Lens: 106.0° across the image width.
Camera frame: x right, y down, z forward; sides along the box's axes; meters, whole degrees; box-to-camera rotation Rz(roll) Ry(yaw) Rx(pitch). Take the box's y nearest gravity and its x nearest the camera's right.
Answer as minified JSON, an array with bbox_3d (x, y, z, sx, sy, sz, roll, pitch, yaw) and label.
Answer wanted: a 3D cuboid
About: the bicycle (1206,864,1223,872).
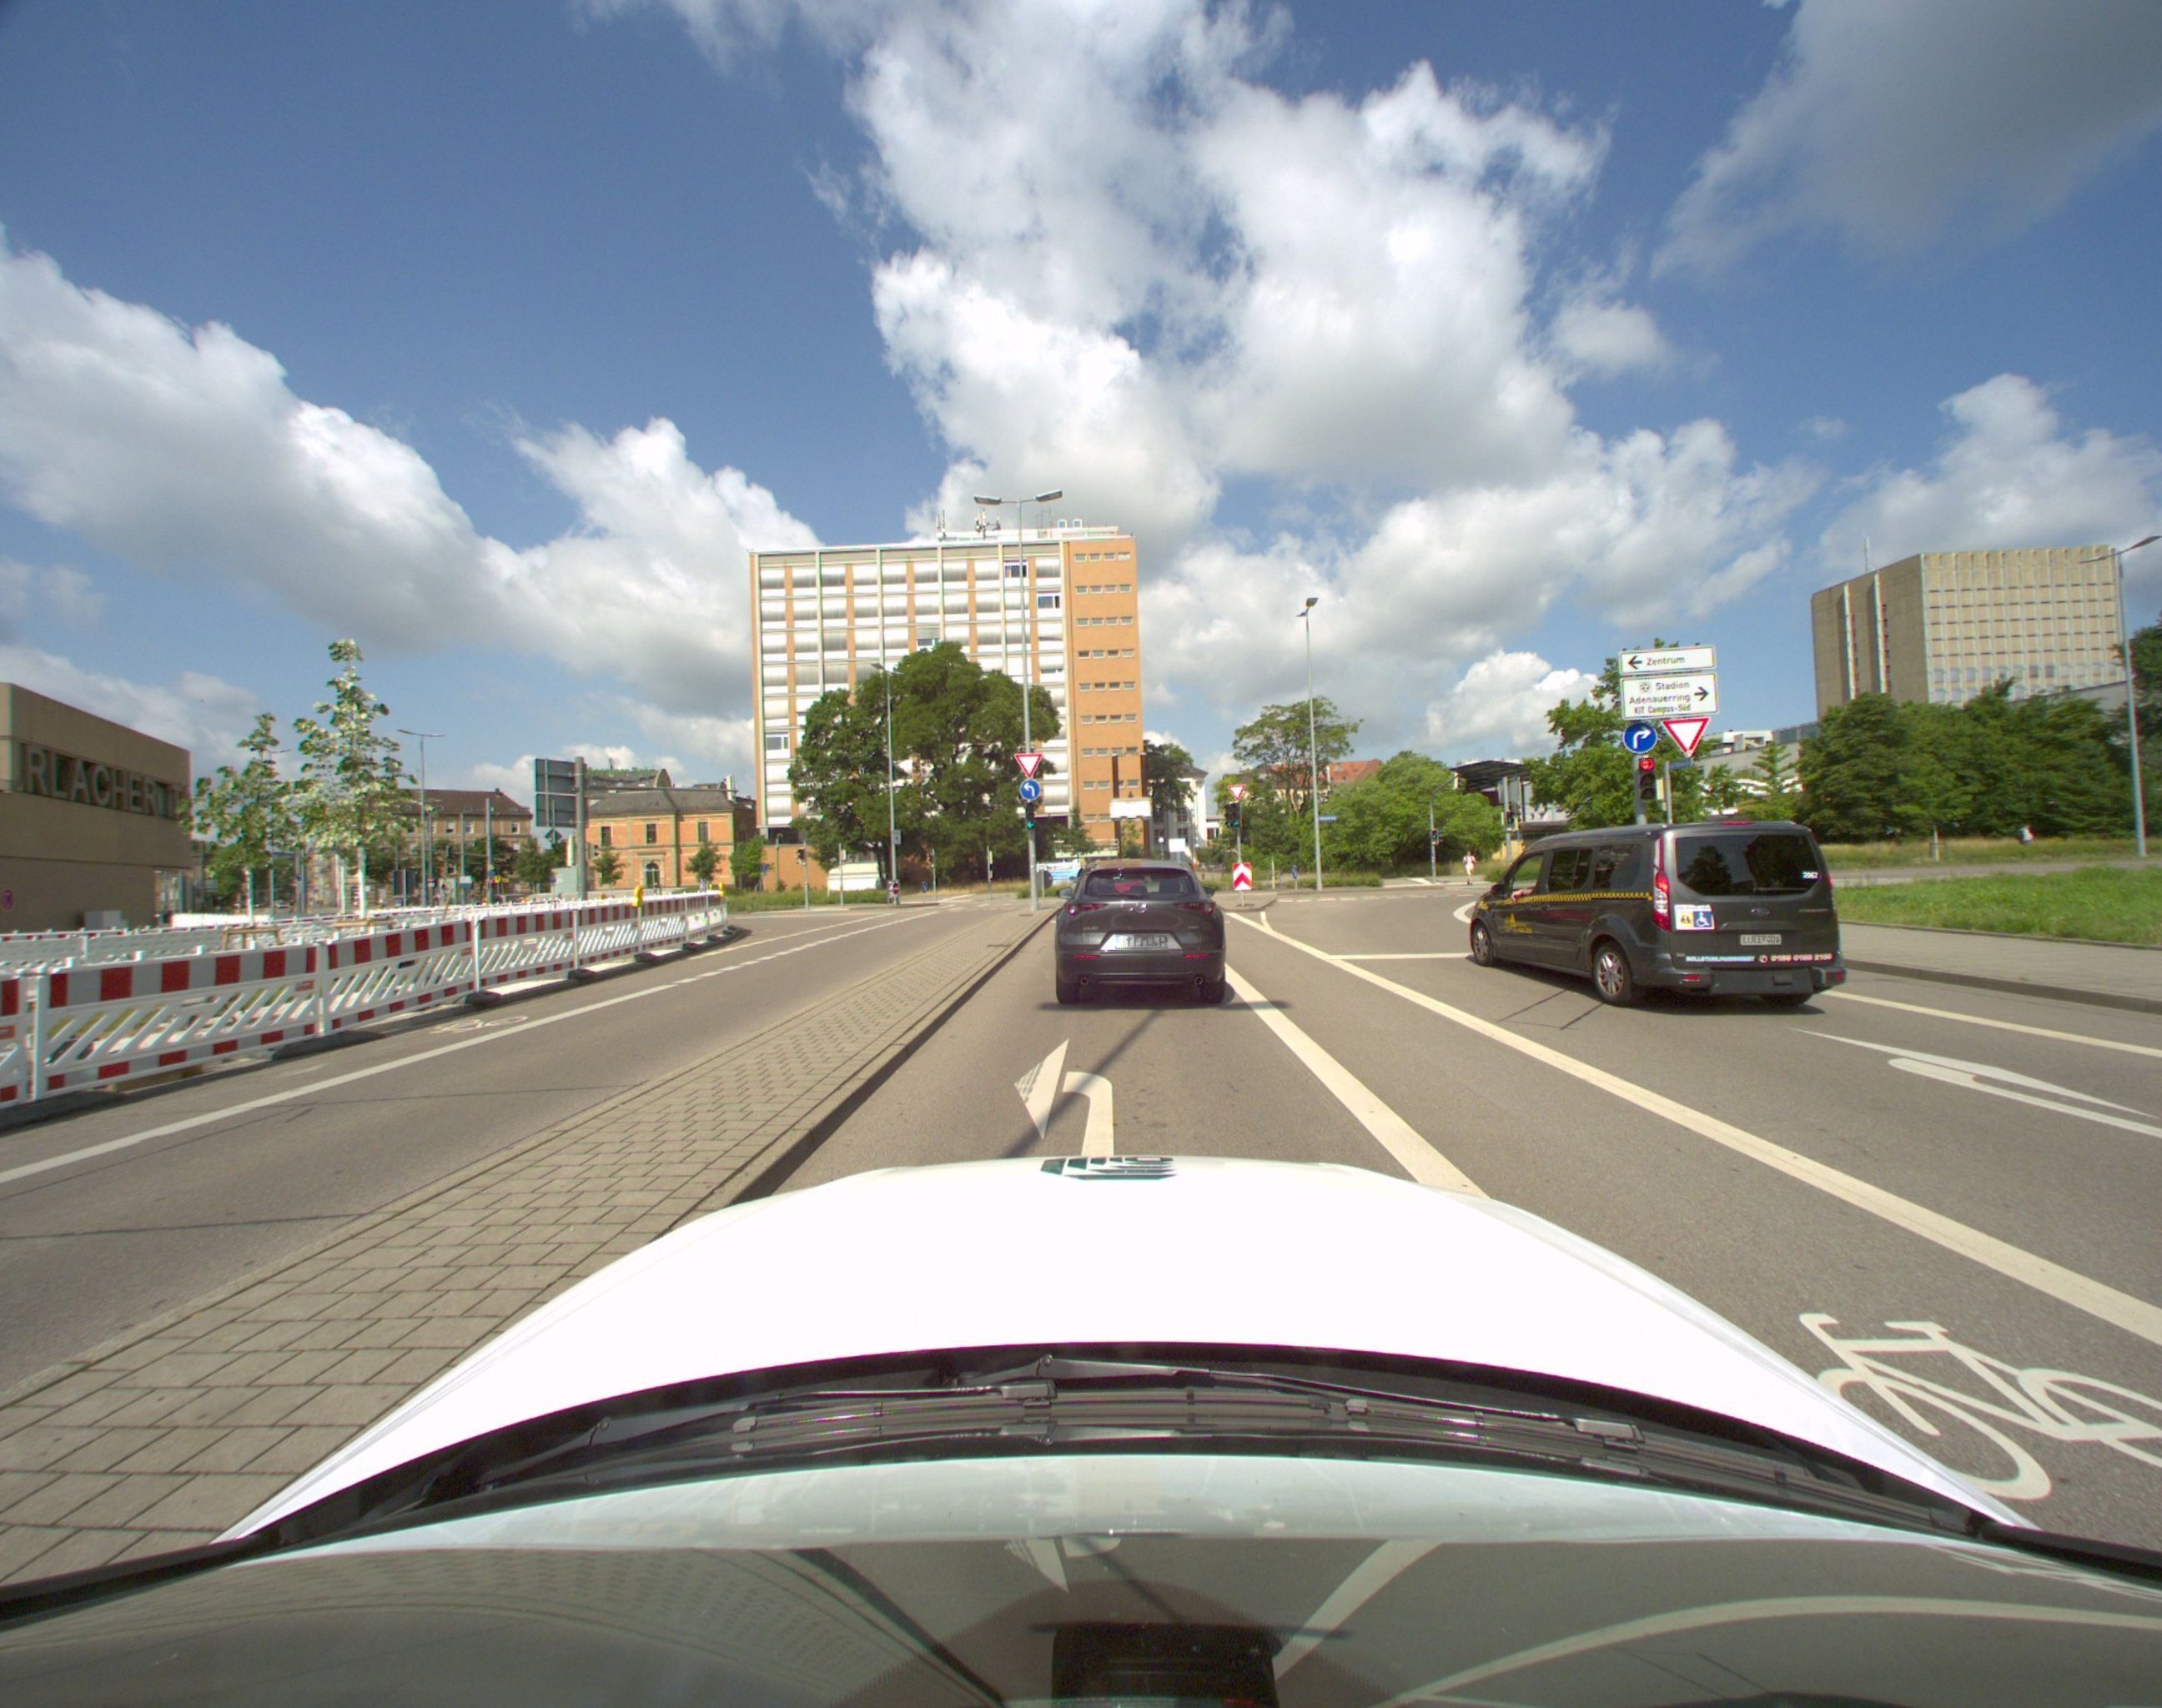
[{"bbox_3d":[16.729,1.761,102.127,2.048,0.936,0.804,-3,-1,1],"label":"bicycle"}]

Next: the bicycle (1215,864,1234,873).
[{"bbox_3d":[17.017,1.683,96.403,2.048,0.936,0.804,-3,-1,1],"label":"bicycle"}]

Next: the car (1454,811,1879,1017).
[{"bbox_3d":[6.235,0.555,9.542,1.840,1.785,4.676,-1,-1,4],"label":"car"}]

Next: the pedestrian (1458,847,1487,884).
[{"bbox_3d":[20.377,0.622,42.439,0.696,1.857,1.177,-3,-3,-8],"label":"pedestrian"}]

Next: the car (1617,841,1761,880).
[{"bbox_3d":[27.077,0.307,36.428,4.740,1.442,2.065,-3,-3,6],"label":"car"}]

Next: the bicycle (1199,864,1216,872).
[{"bbox_3d":[16.430,1.815,105.874,2.048,0.936,0.804,-3,-1,1],"label":"bicycle"}]

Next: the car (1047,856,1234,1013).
[{"bbox_3d":[0.634,0.797,9.952,1.799,1.508,4.206,0,-1,1],"label":"car"}]

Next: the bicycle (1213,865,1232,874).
[{"bbox_3d":[16.316,1.745,93.676,2.048,0.936,0.804,-3,-1,1],"label":"bicycle"}]

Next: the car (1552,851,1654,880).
[{"bbox_3d":[27.835,0.605,43.515,4.129,1.377,2.002,-3,0,3],"label":"car"}]

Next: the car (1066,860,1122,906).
[{"bbox_3d":[0.566,1.026,29.998,1.840,1.472,4.338,-3,-1,3],"label":"car"}]

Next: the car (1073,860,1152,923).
[{"bbox_3d":[0.902,0.910,20.800,1.808,1.439,4.072,-1,-1,5],"label":"car"}]

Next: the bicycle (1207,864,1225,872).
[{"bbox_3d":[16.765,1.748,101.121,2.048,0.936,0.804,-3,-1,1],"label":"bicycle"}]

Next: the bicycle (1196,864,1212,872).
[{"bbox_3d":[16.688,1.878,110.730,2.048,0.936,0.804,-3,-1,1],"label":"bicycle"}]
